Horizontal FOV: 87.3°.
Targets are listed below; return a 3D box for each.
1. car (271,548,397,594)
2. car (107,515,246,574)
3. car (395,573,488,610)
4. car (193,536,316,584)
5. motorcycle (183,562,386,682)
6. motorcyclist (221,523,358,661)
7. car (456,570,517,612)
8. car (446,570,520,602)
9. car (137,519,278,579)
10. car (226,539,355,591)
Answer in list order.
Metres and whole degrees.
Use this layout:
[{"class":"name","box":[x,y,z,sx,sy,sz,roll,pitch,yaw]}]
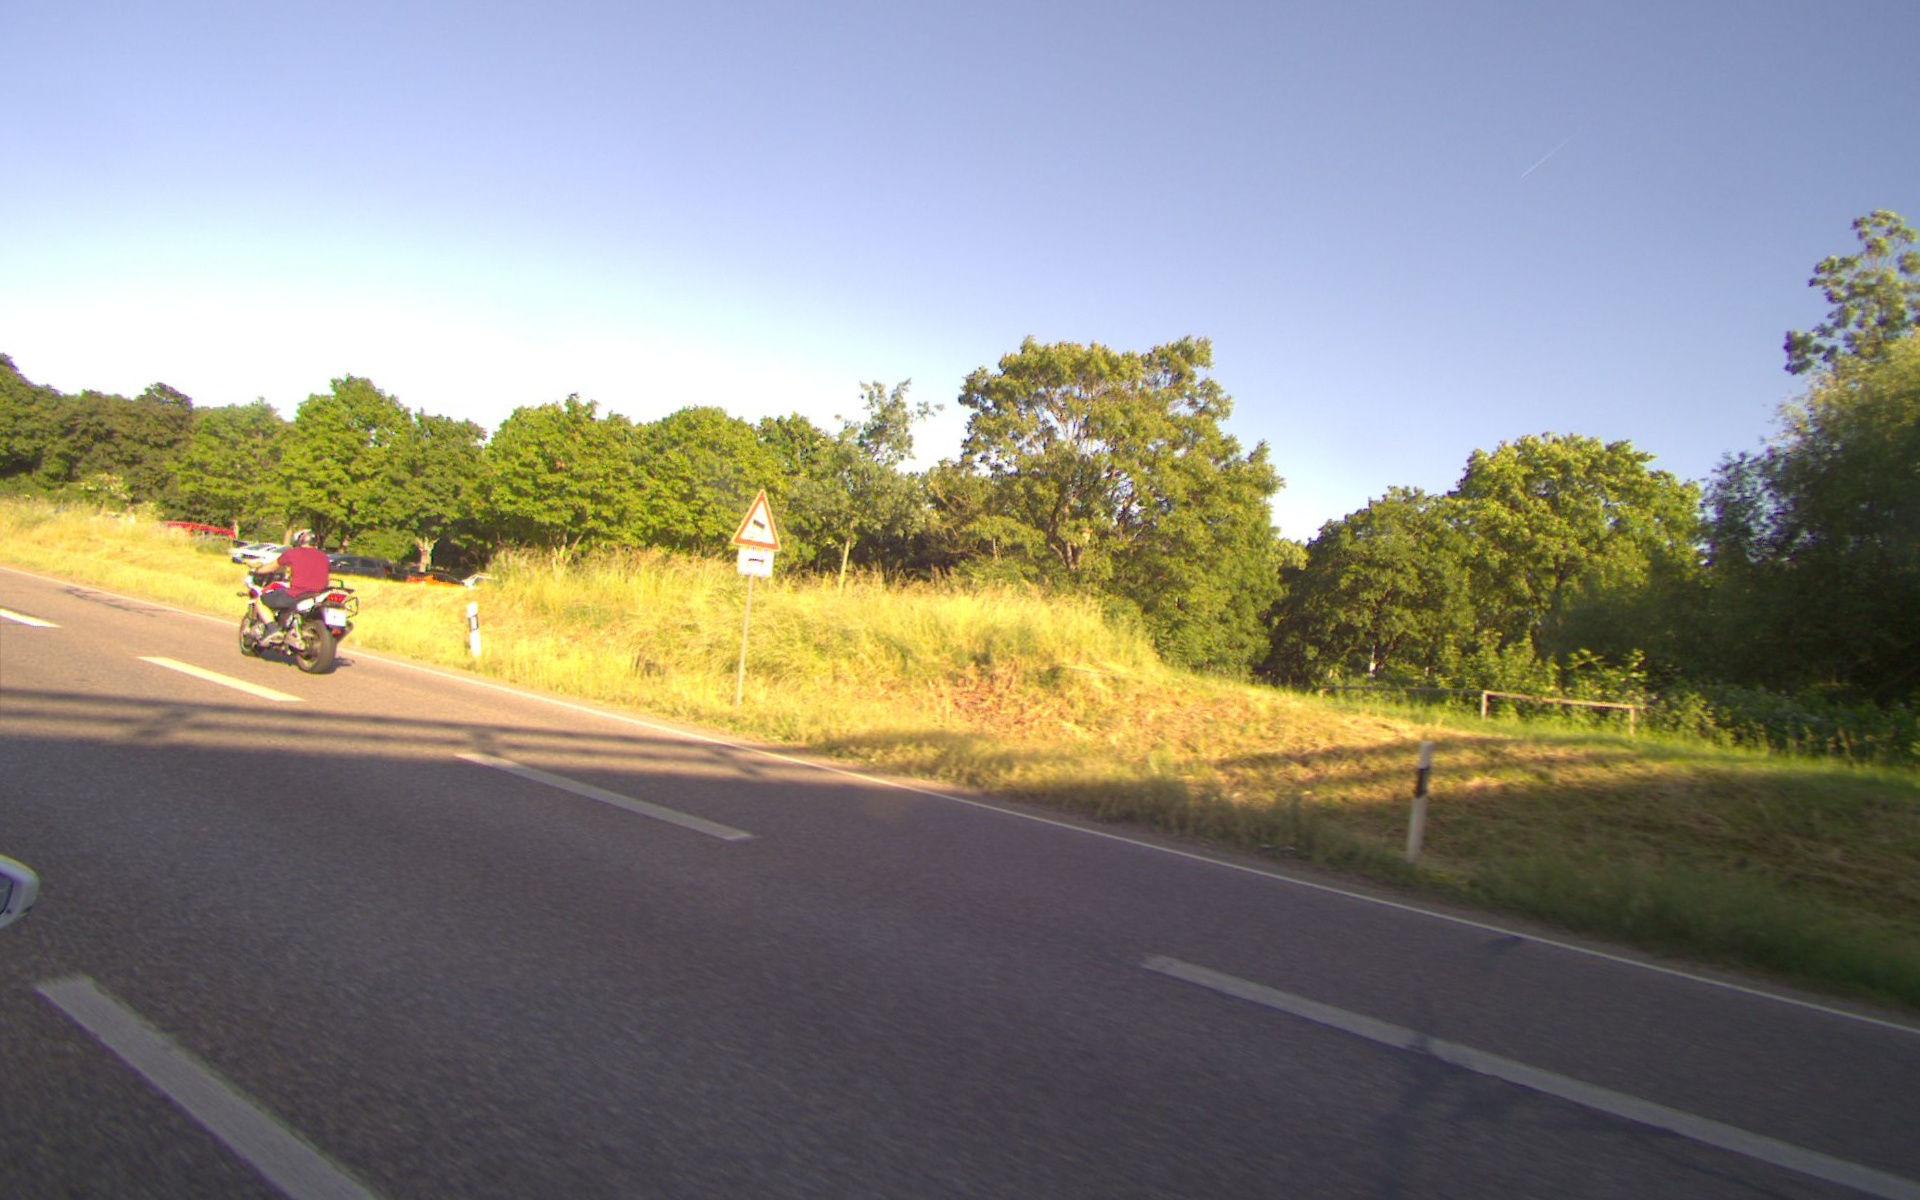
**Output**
[{"class":"car","box":[-26.206,-1.181,42.245,1.890,1.320,4.002,4,-5,26]},{"class":"car","box":[-38.082,-2.648,49.029,1.991,2.044,4.808,4,-5,25]},{"class":"car","box":[-28.860,-0.447,56.114,1.988,1.439,4.126,4,-5,25]},{"class":"car","box":[-31.280,-1.761,44.708,1.890,1.475,3.947,4,-5,25]},{"class":"motorcycle","box":[-8.164,0.243,12.103,2.788,1.081,0.818,7,-2,31]},{"class":"motorcyclist","box":[-8.017,-0.090,12.034,1.075,1.464,0.818,7,-2,31]},{"class":"car","box":[-19.448,-0.327,41.479,1.965,1.320,3.985,7,-5,-22]},{"class":"car","box":[-38.643,-1.114,81.655,1.923,1.886,5.207,6,-3,27]},{"class":"car","box":[-35.574,-2.363,47.717,1.991,2.044,4.808,4,-5,25]},{"class":"car","box":[-28.875,-1.489,43.533,1.890,1.575,4.126,4,-5,25]}]
